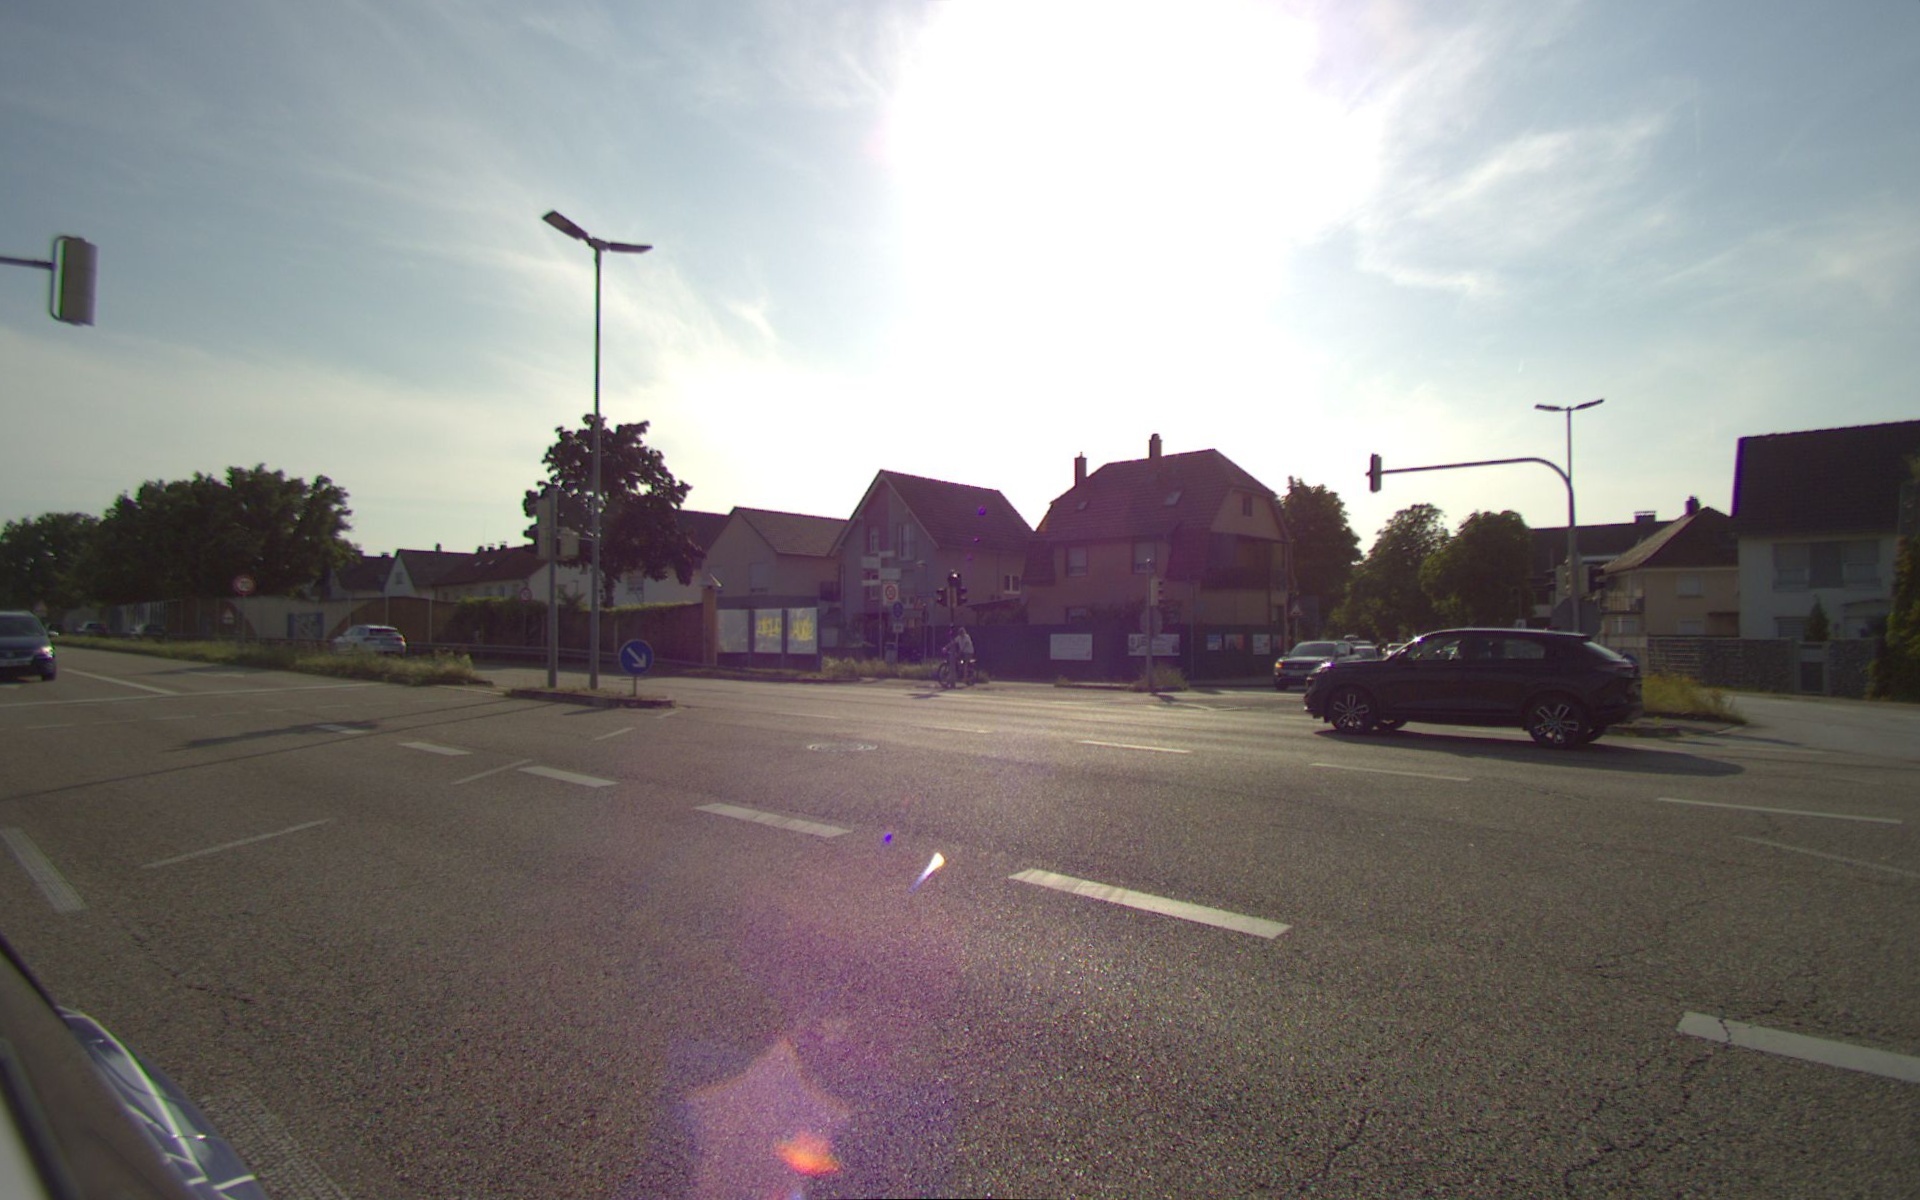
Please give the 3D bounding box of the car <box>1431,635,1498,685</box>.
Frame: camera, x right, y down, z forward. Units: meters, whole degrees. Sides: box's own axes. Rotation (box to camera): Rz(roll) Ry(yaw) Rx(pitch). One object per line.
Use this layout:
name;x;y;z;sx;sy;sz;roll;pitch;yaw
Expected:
car;20.573;2.397;41.422;1.985;1.829;4.154;-1;0;20

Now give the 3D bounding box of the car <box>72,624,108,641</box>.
car;-77.063;2.877;89.620;3.995;1.364;1.718;-1;0;39

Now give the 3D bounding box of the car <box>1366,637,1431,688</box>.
car;15.575;2.176;36.101;1.811;1.576;3.974;-1;0;19

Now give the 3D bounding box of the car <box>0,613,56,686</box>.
car;-23.260;1.130;24.340;4.681;1.634;1.754;-1;-1;42

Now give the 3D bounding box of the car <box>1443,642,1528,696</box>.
car;15.116;1.981;29.009;1.638;1.424;4.254;-1;-4;34

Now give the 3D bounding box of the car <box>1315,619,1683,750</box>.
car;7.350;1.073;14.069;4.245;1.553;1.714;-1;-4;41

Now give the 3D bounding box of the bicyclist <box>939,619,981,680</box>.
bicyclist;0.000;1.476;30.302;0.844;1.800;0.848;5;-4;-40

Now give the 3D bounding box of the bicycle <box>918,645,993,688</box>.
bicycle;-0.118;1.958;30.173;2.128;1.201;0.905;3;-2;-40

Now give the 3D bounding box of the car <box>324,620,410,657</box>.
car;-25.458;1.646;43.380;4.733;1.473;1.735;-1;-4;42

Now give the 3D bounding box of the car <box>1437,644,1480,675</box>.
car;26.657;3.153;54.205;1.775;1.497;3.400;-1;0;22

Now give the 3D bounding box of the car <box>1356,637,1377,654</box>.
car;40.661;4.524;101.233;1.579;1.497;3.407;-1;0;16

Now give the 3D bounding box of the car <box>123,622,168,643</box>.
car;-59.288;2.332;73.621;4.551;1.393;1.770;-1;0;41

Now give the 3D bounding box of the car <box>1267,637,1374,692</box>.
car;11.234;2.005;31.412;1.757;1.575;3.944;-1;-4;42

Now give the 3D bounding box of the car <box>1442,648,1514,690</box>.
car;17.663;2.323;34.661;1.744;1.186;3.589;-1;0;20
